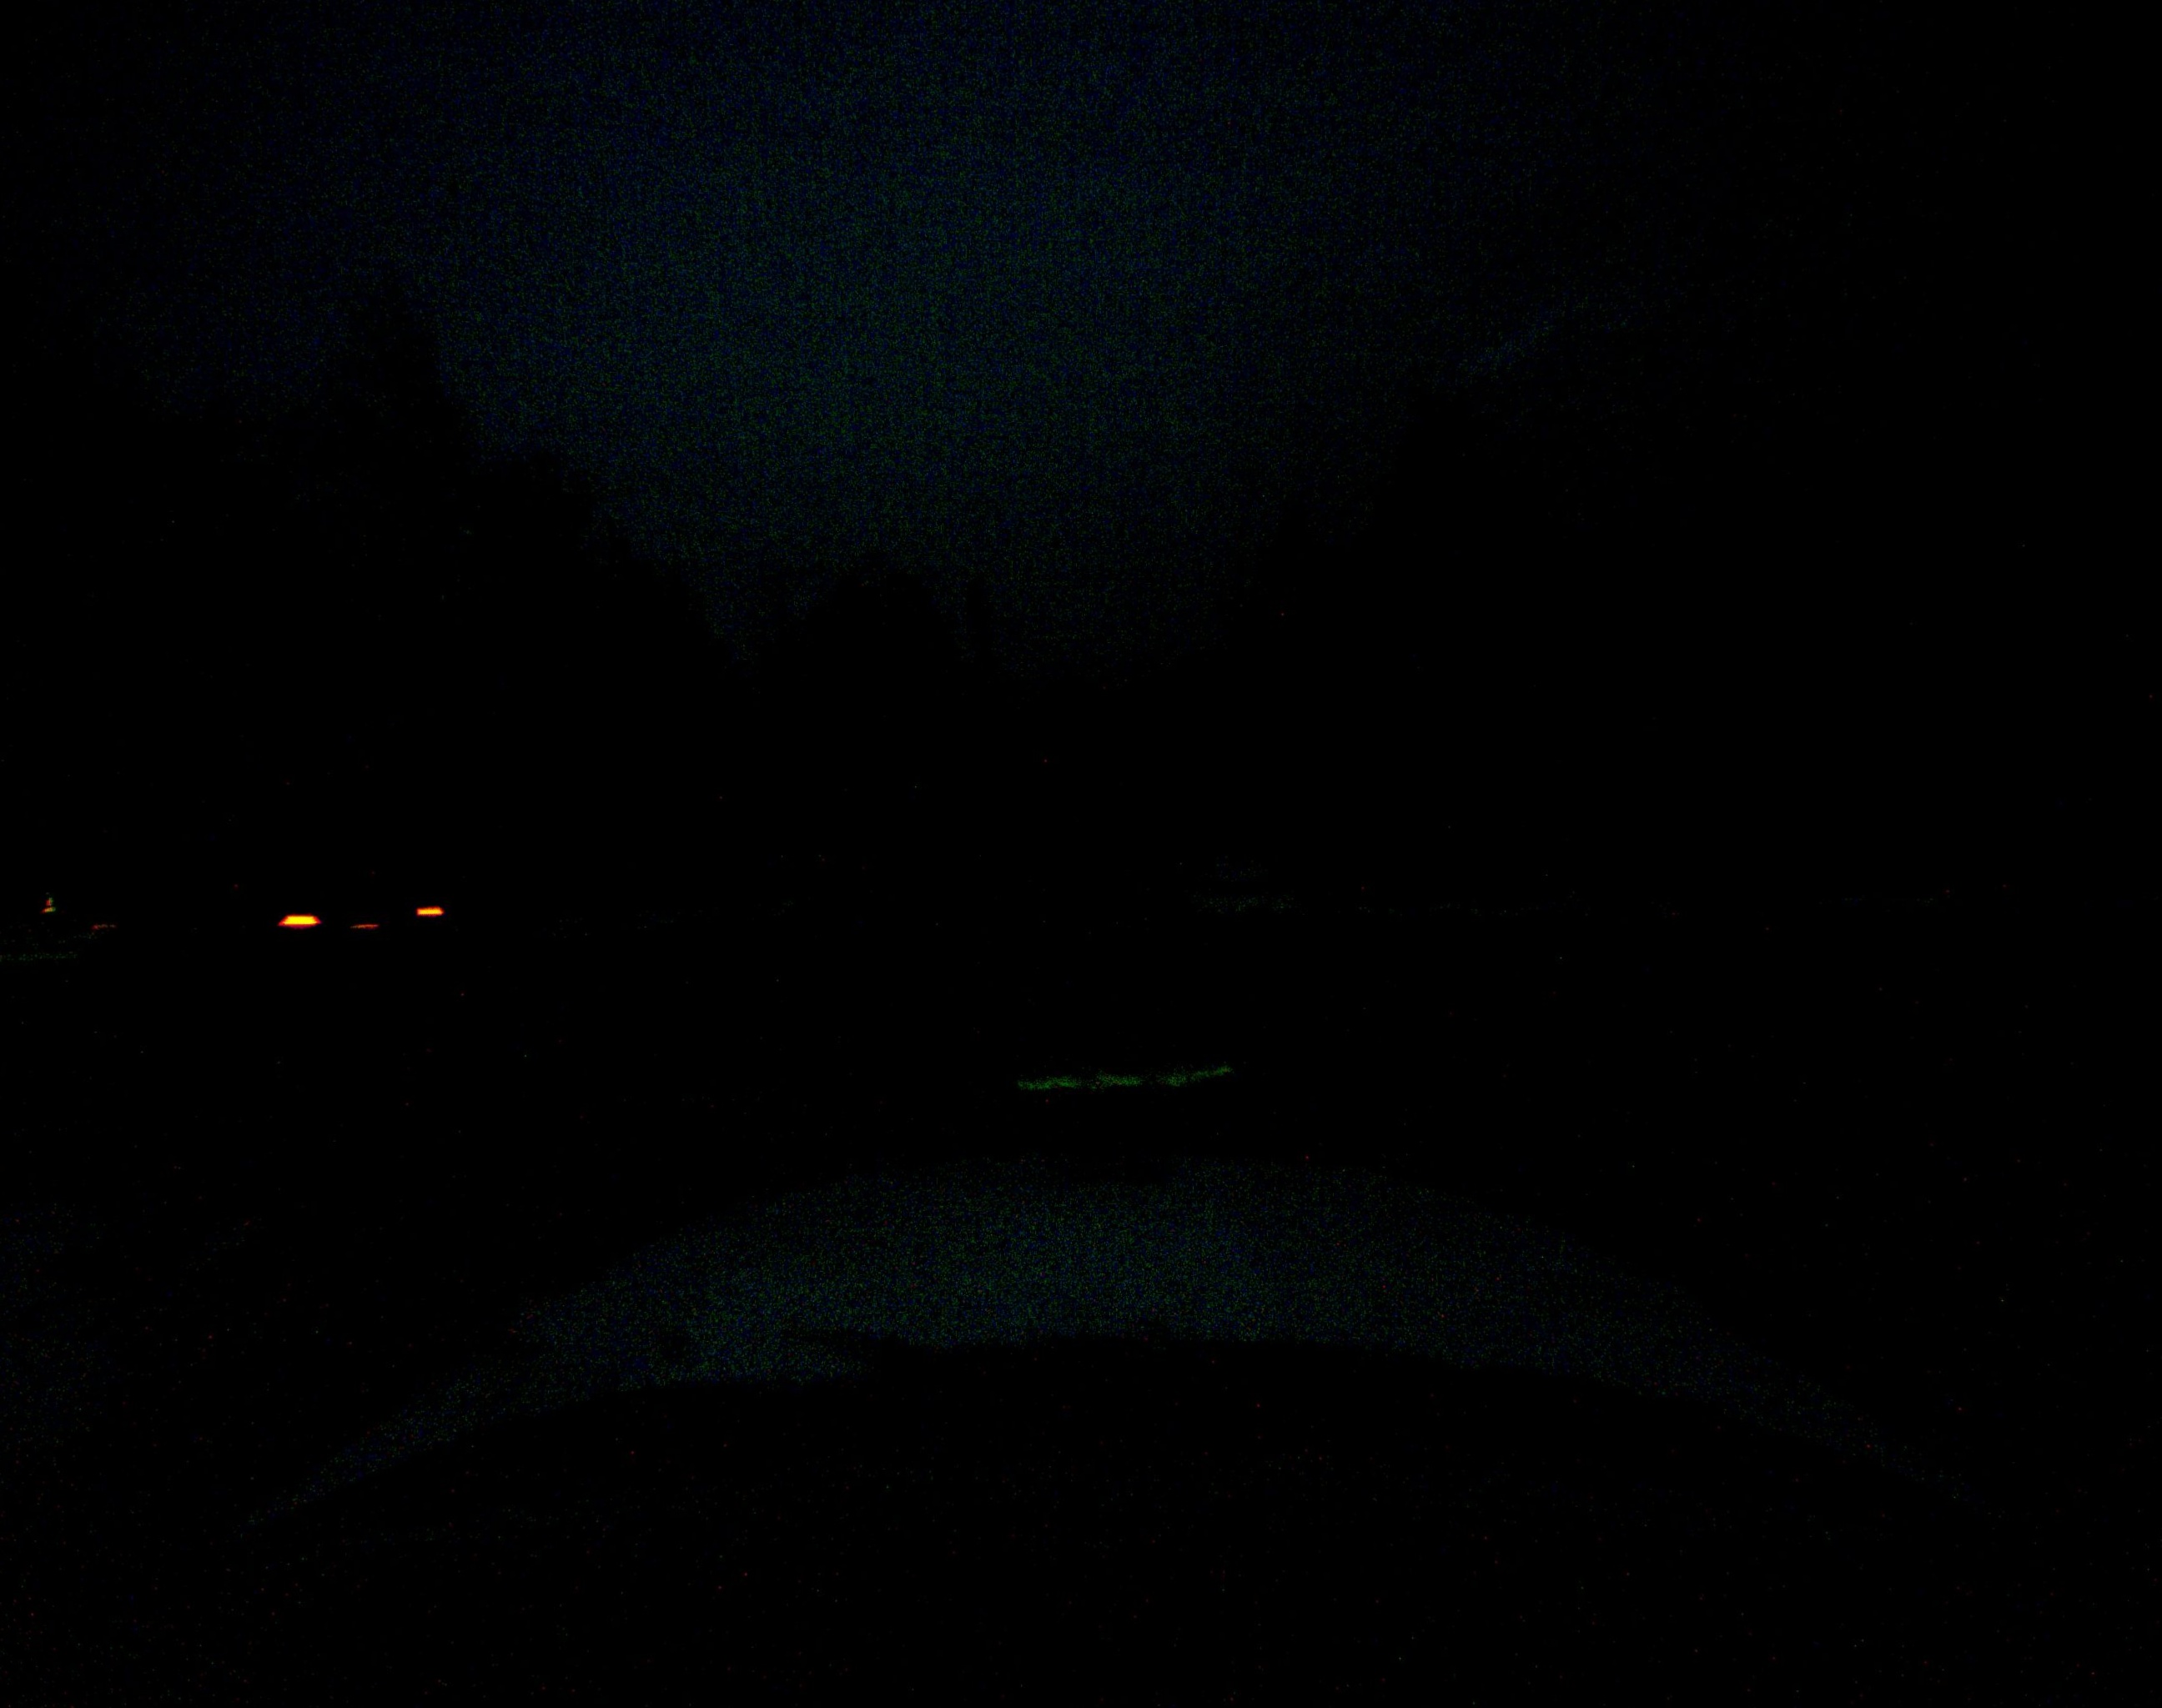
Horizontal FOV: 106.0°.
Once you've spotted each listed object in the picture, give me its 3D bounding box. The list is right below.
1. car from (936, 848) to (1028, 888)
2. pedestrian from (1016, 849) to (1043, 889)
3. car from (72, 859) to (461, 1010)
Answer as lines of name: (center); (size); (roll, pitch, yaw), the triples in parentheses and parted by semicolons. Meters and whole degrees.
car: (-4.719, 0.672, 39.044); (3.919, 1.881, 2.007); (0, -1, 14)
pedestrian: (-2.409, 0.706, 38.110); (0.953, 1.828, 0.929); (0, -2, 19)
car: (-9.714, 0.890, 9.764); (3.812, 1.552, 1.705); (-2, -1, 17)
